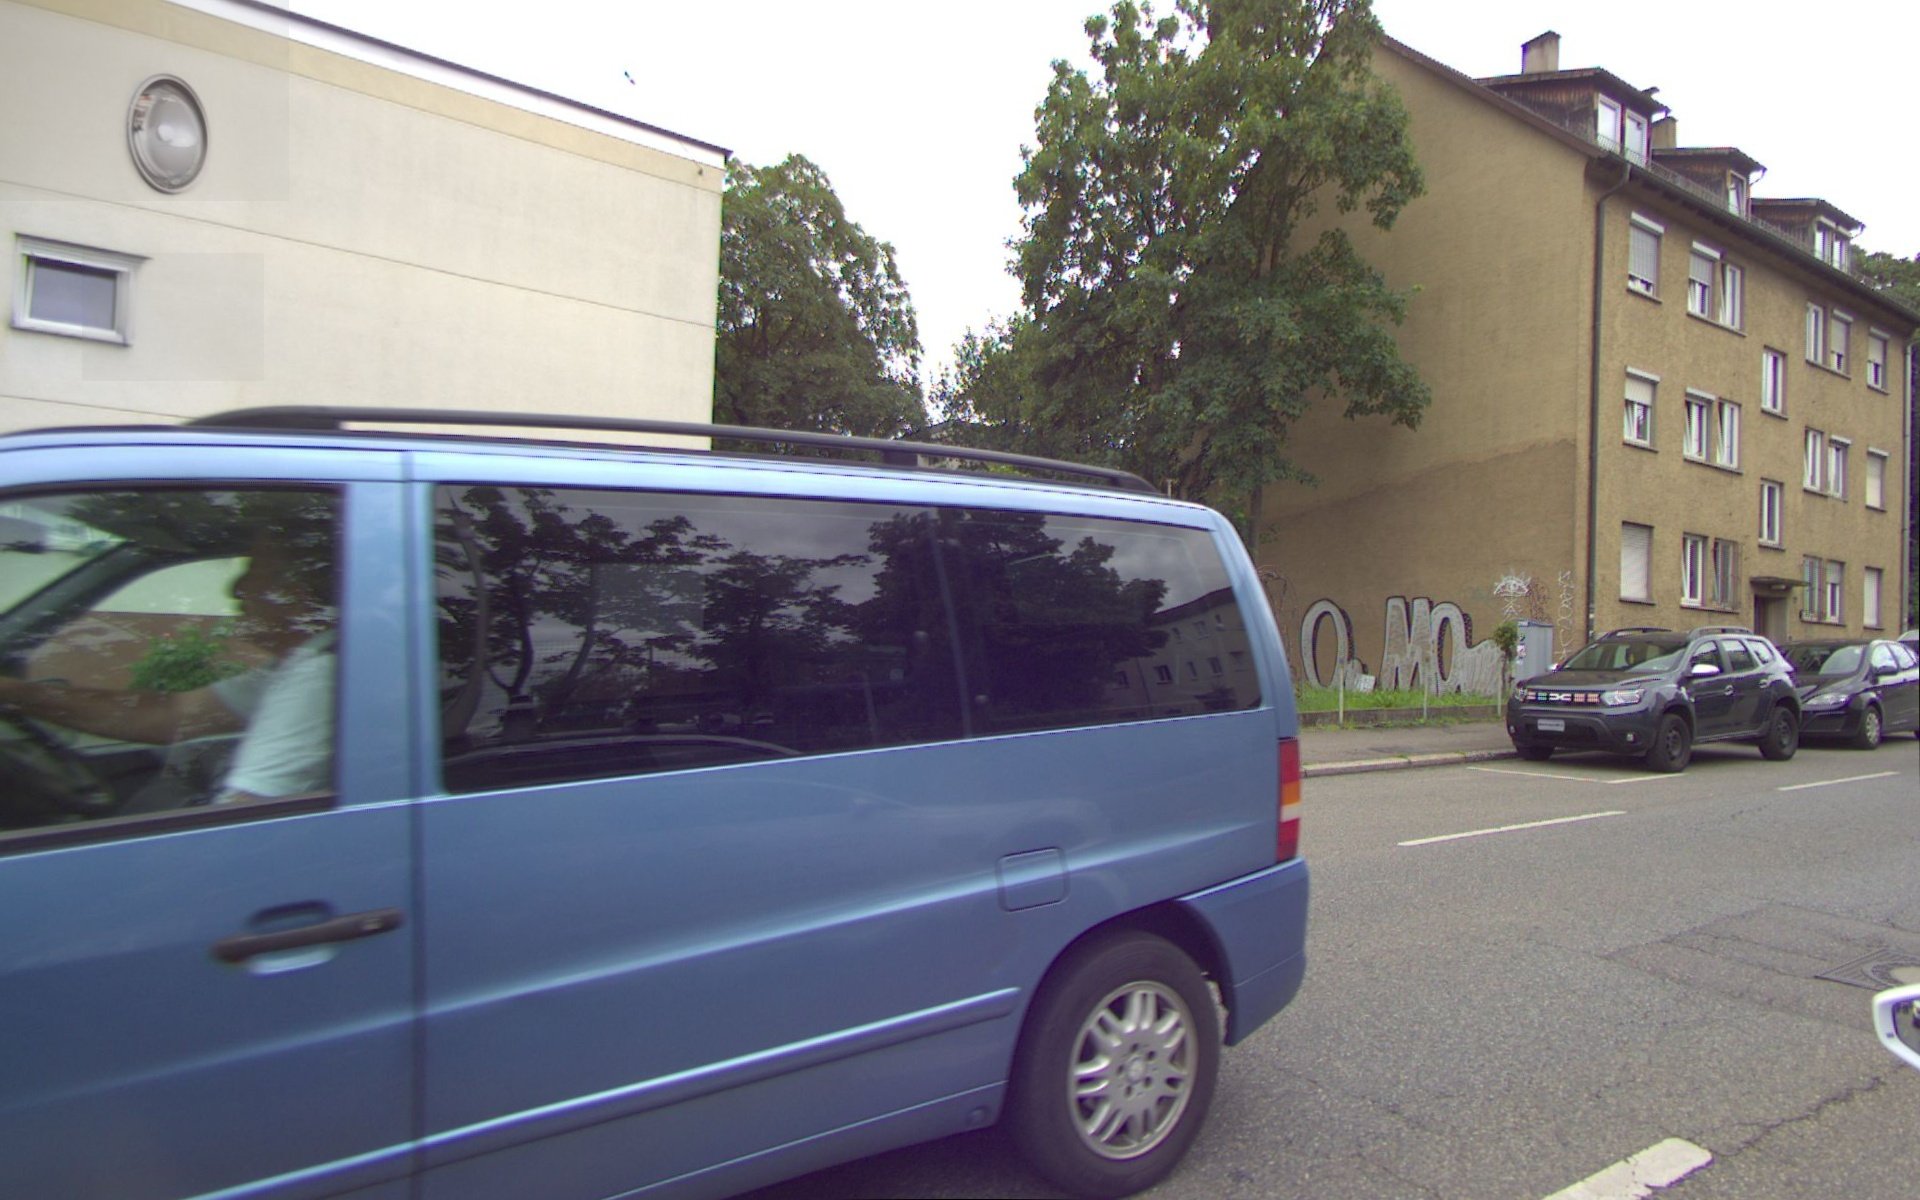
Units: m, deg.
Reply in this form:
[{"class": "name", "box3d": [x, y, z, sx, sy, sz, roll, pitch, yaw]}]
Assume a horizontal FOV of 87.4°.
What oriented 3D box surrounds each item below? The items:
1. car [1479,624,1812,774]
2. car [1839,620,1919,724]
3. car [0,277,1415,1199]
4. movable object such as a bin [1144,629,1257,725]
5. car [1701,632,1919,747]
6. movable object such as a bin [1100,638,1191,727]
[{"class": "car", "box3d": [8.787, 1.173, 12.825, 4.212, 1.630, 1.776, 1, -4, -29]}, {"class": "car", "box3d": [18.159, 1.277, 18.389, 4.504, 1.777, 1.768, 1, -3, -30]}, {"class": "car", "box3d": [-1.042, 0.536, 2.746, 4.536, 1.926, 1.922, 1, -2, -31]}, {"class": "movable object such as a bin", "box3d": [3.879, 1.204, 16.242, 1.266, 1.447, 1.273, 1, -1, -34]}, {"class": "car", "box3d": [13.335, 1.291, 15.454, 4.054, 1.550, 1.742, 1, -3, -32]}, {"class": "movable object such as a bin", "box3d": [3.275, 1.427, 17.826, 0.903, 1.447, 1.385, 1, -1, -32]}]
